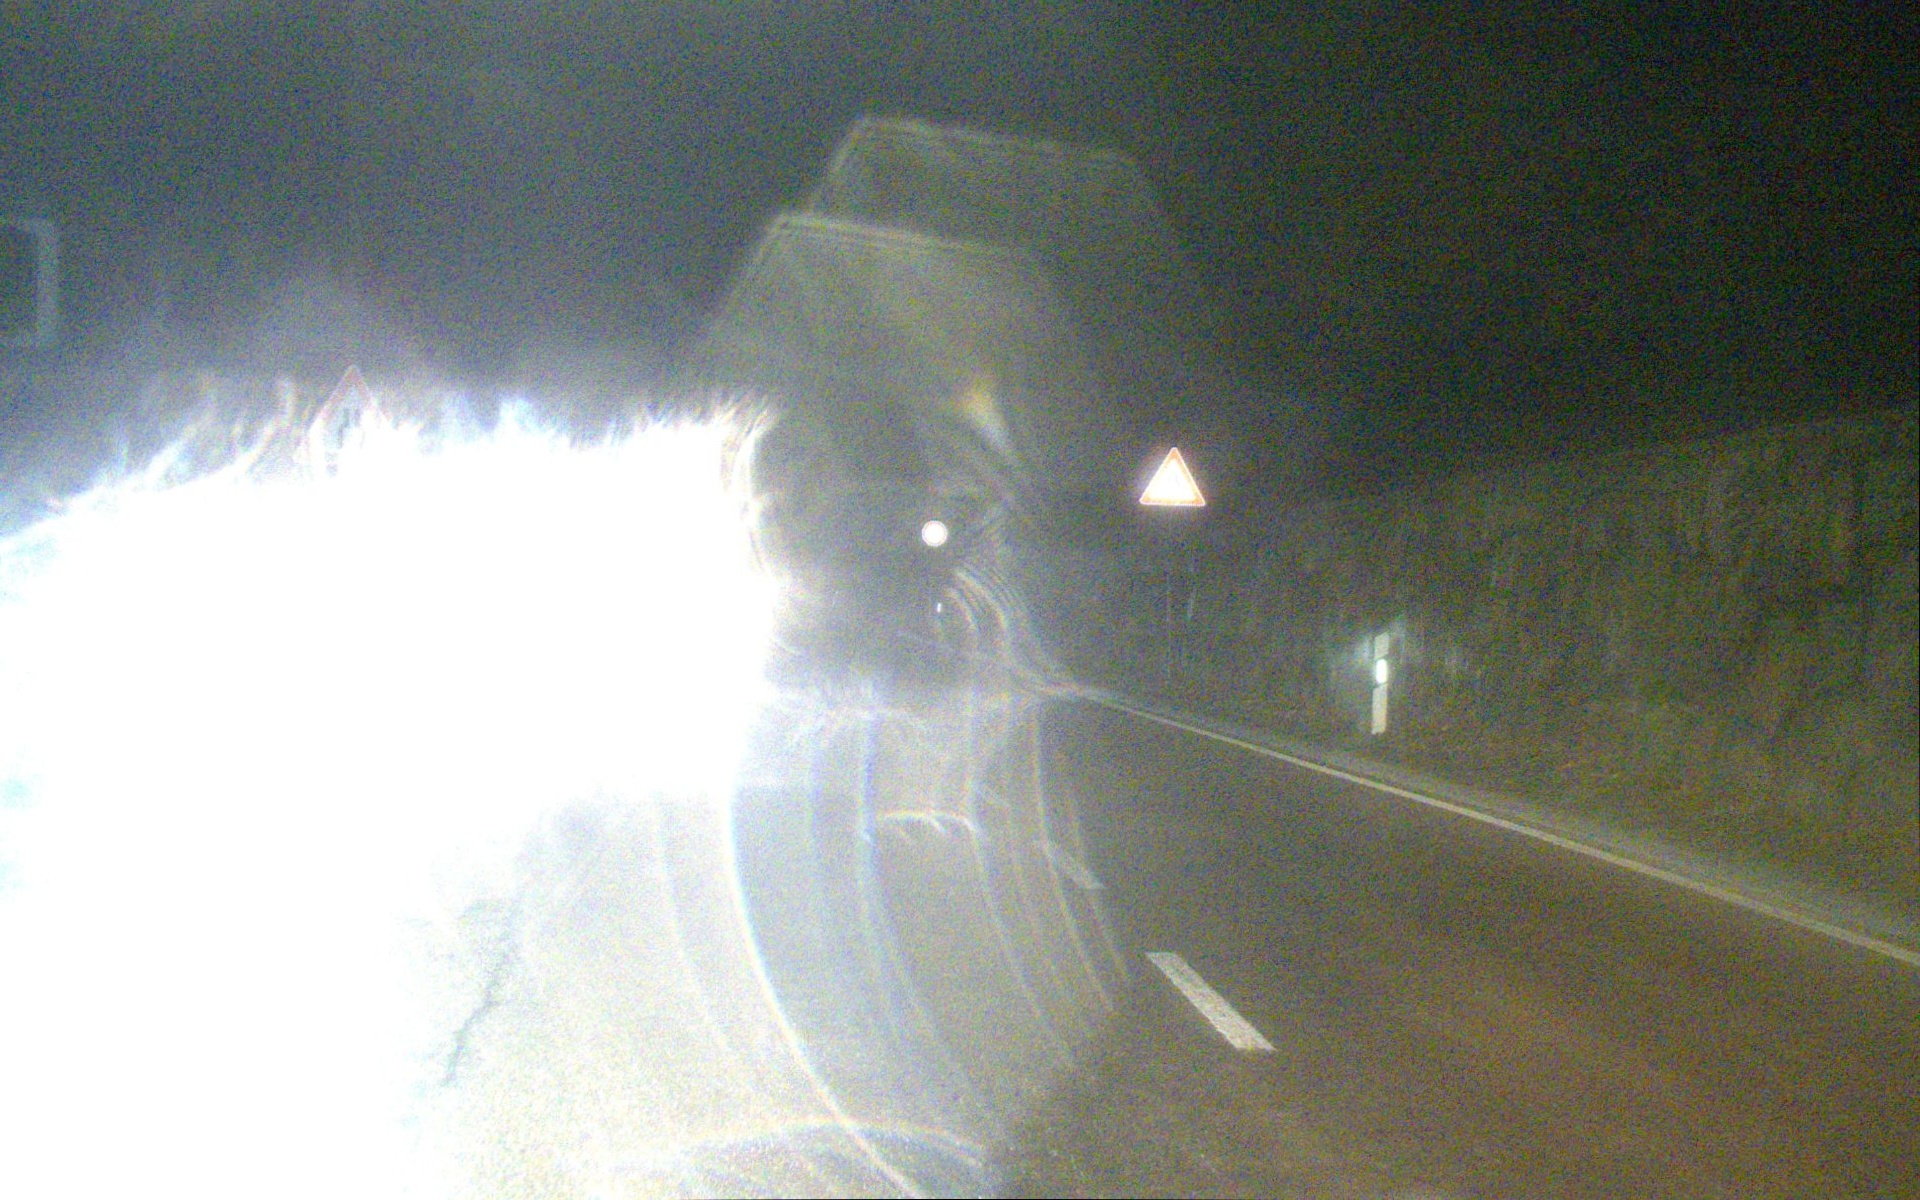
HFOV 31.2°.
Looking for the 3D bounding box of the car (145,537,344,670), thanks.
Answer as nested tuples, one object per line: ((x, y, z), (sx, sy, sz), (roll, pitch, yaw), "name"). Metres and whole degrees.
((-11.330, 0.028, 54.781), (2.153, 2.007, 4.995), (1, 1, 0), "car")

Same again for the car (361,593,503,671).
((-11.287, 0.659, 73.825), (2.181, 1.553, 5.204), (0, 1, 1), "car")

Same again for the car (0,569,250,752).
((-7.974, 0.529, 32.008), (1.956, 1.565, 4.467), (1, 0, -3), "car")

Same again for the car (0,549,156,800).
((-7.504, 0.495, 25.708), (1.993, 1.692, 5.013), (1, 0, -3), "car")

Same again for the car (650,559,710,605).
((-11.693, -0.755, 143.642), (1.993, 1.858, 5.319), (0, 1, 1), "car")

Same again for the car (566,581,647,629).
((-11.686, 0.150, 113.915), (2.083, 1.537, 4.898), (0, 1, 1), "car")
